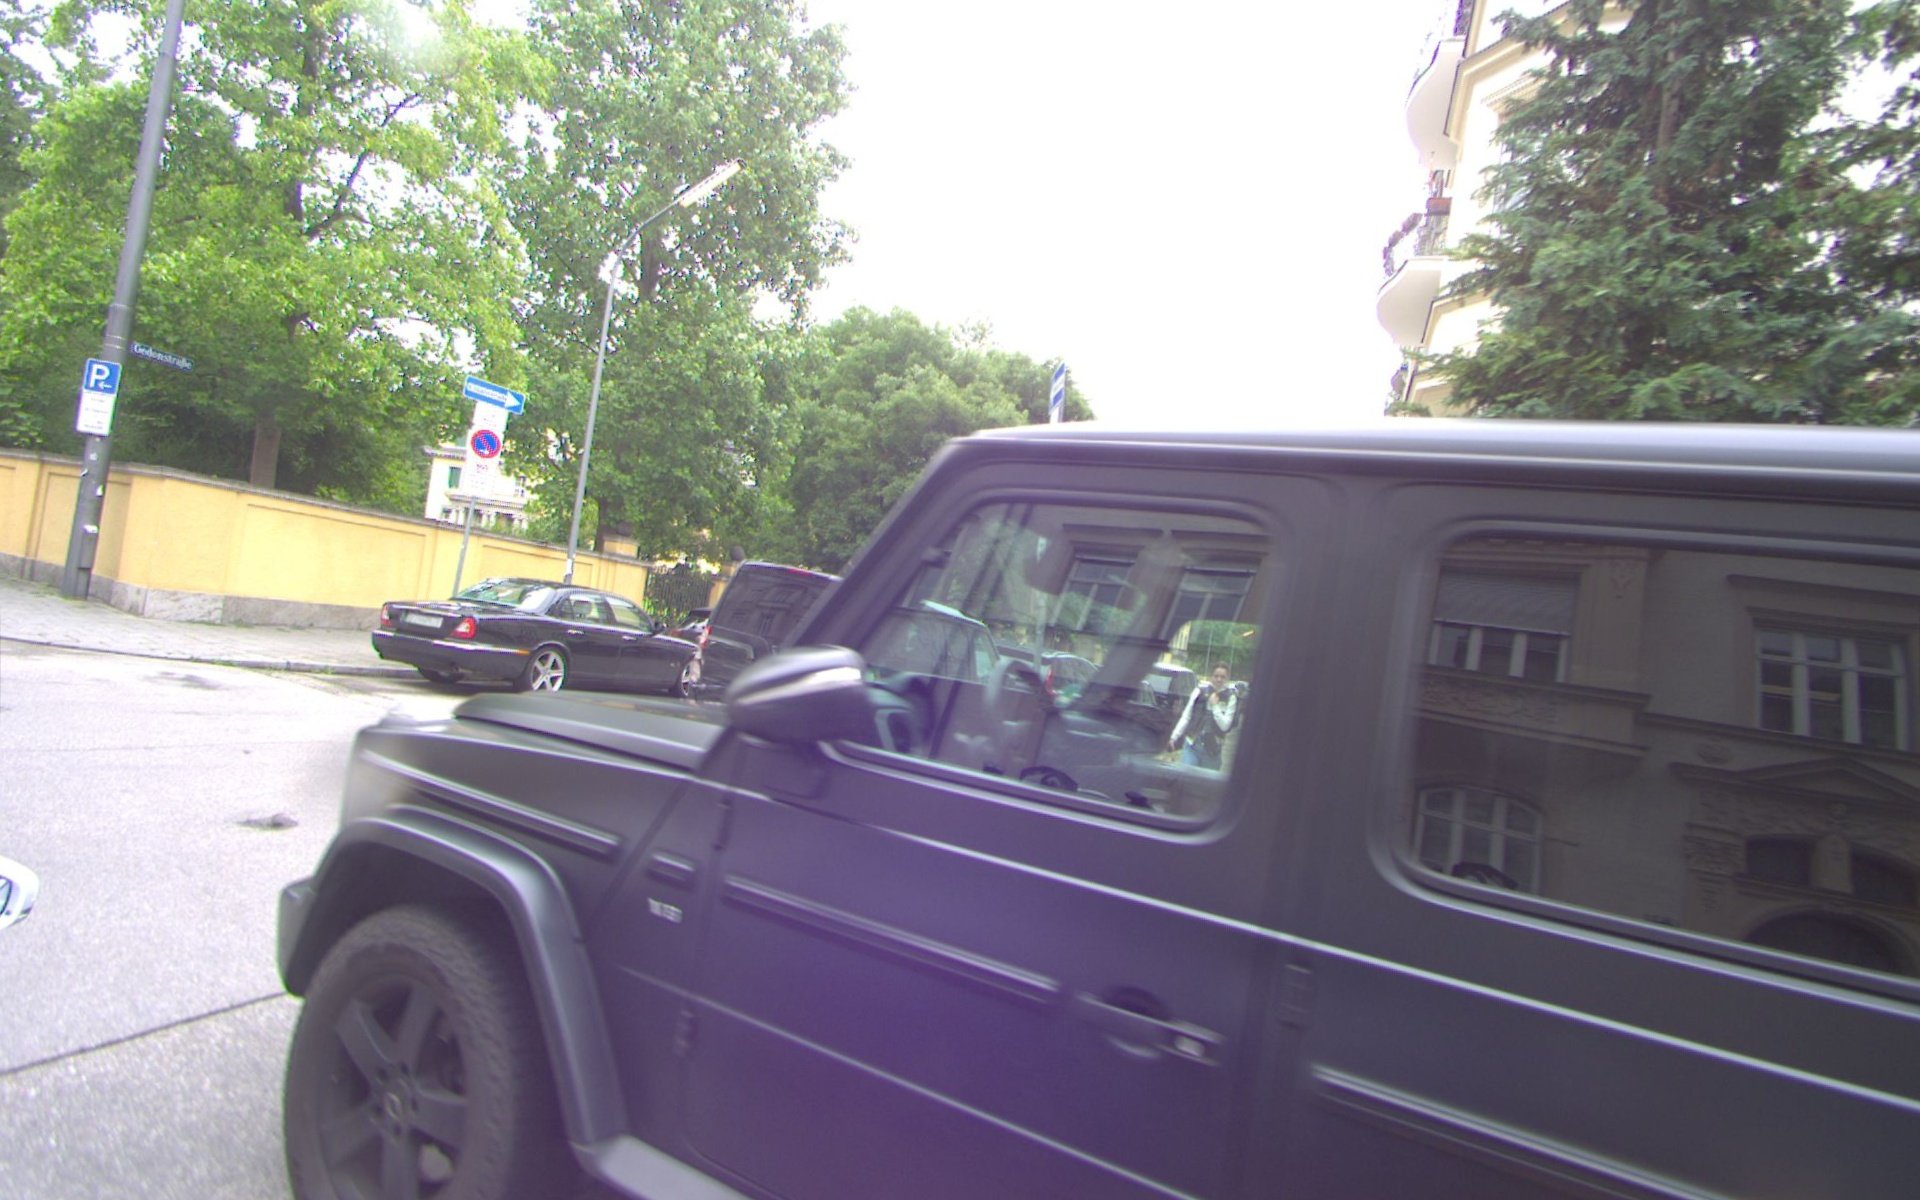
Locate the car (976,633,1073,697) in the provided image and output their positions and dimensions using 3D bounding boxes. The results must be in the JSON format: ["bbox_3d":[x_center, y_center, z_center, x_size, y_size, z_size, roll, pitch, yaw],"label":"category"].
[{"bbox_3d":[2.297,2.277,34.616,1.973,1.798,4.387,8,-2,20],"label":"car"}]

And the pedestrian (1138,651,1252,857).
[{"bbox_3d":[2.091,1.323,8.912,0.676,1.649,0.708,8,1,22],"label":"pedestrian"}]

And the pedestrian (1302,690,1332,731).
[{"bbox_3d":[16.888,5.232,47.544,0.960,1.770,0.783,8,-1,31],"label":"pedestrian"}]

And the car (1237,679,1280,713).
[{"bbox_3d":[17.373,5.548,58.419,1.963,1.639,4.612,8,-2,20],"label":"car"}]

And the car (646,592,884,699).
[{"bbox_3d":[-3.397,0.931,18.545,1.888,1.499,4.610,8,-2,24],"label":"car"}]

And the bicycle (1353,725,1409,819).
[{"bbox_3d":[6.121,2.463,14.711,0.528,1.117,2.416,9,-2,21],"label":"bicycle"}]

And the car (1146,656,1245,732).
[{"bbox_3d":[6.921,2.696,29.195,1.928,1.668,4.252,10,0,22],"label":"car"}]

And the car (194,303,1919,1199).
[{"bbox_3d":[0.728,0.691,2.243,4.584,1.975,1.957,9,-2,29],"label":"car"}]

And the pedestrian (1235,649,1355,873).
[{"bbox_3d":[2.867,1.323,8.582,0.683,1.724,0.736,8,2,24],"label":"pedestrian"}]

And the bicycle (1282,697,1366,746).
[{"bbox_3d":[12.367,4.097,34.077,2.462,1.281,2.475,6,-3,23],"label":"bicycle"}]

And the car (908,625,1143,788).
[{"bbox_3d":[1.142,1.473,14.604,1.928,1.668,4.252,10,0,22],"label":"car"}]

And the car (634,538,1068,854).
[{"bbox_3d":[-0.658,0.827,9.501,1.869,1.973,4.545,10,0,22],"label":"car"}]

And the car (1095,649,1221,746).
[{"bbox_3d":[4.822,2.284,24.032,1.928,1.774,4.252,10,0,22],"label":"car"}]

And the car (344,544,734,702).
[{"bbox_3d":[-5.218,0.427,13.414,1.830,1.499,4.933,8,-2,19],"label":"car"}]

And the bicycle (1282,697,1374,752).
[{"bbox_3d":[11.376,3.806,31.010,2.462,1.281,2.475,6,-3,23],"label":"bicycle"}]

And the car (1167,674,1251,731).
[{"bbox_3d":[8.412,3.384,33.692,1.928,1.422,4.252,10,0,22],"label":"car"}]

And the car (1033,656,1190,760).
[{"bbox_3d":[3.075,2.044,19.637,1.928,1.457,4.114,10,0,22],"label":"car"}]
